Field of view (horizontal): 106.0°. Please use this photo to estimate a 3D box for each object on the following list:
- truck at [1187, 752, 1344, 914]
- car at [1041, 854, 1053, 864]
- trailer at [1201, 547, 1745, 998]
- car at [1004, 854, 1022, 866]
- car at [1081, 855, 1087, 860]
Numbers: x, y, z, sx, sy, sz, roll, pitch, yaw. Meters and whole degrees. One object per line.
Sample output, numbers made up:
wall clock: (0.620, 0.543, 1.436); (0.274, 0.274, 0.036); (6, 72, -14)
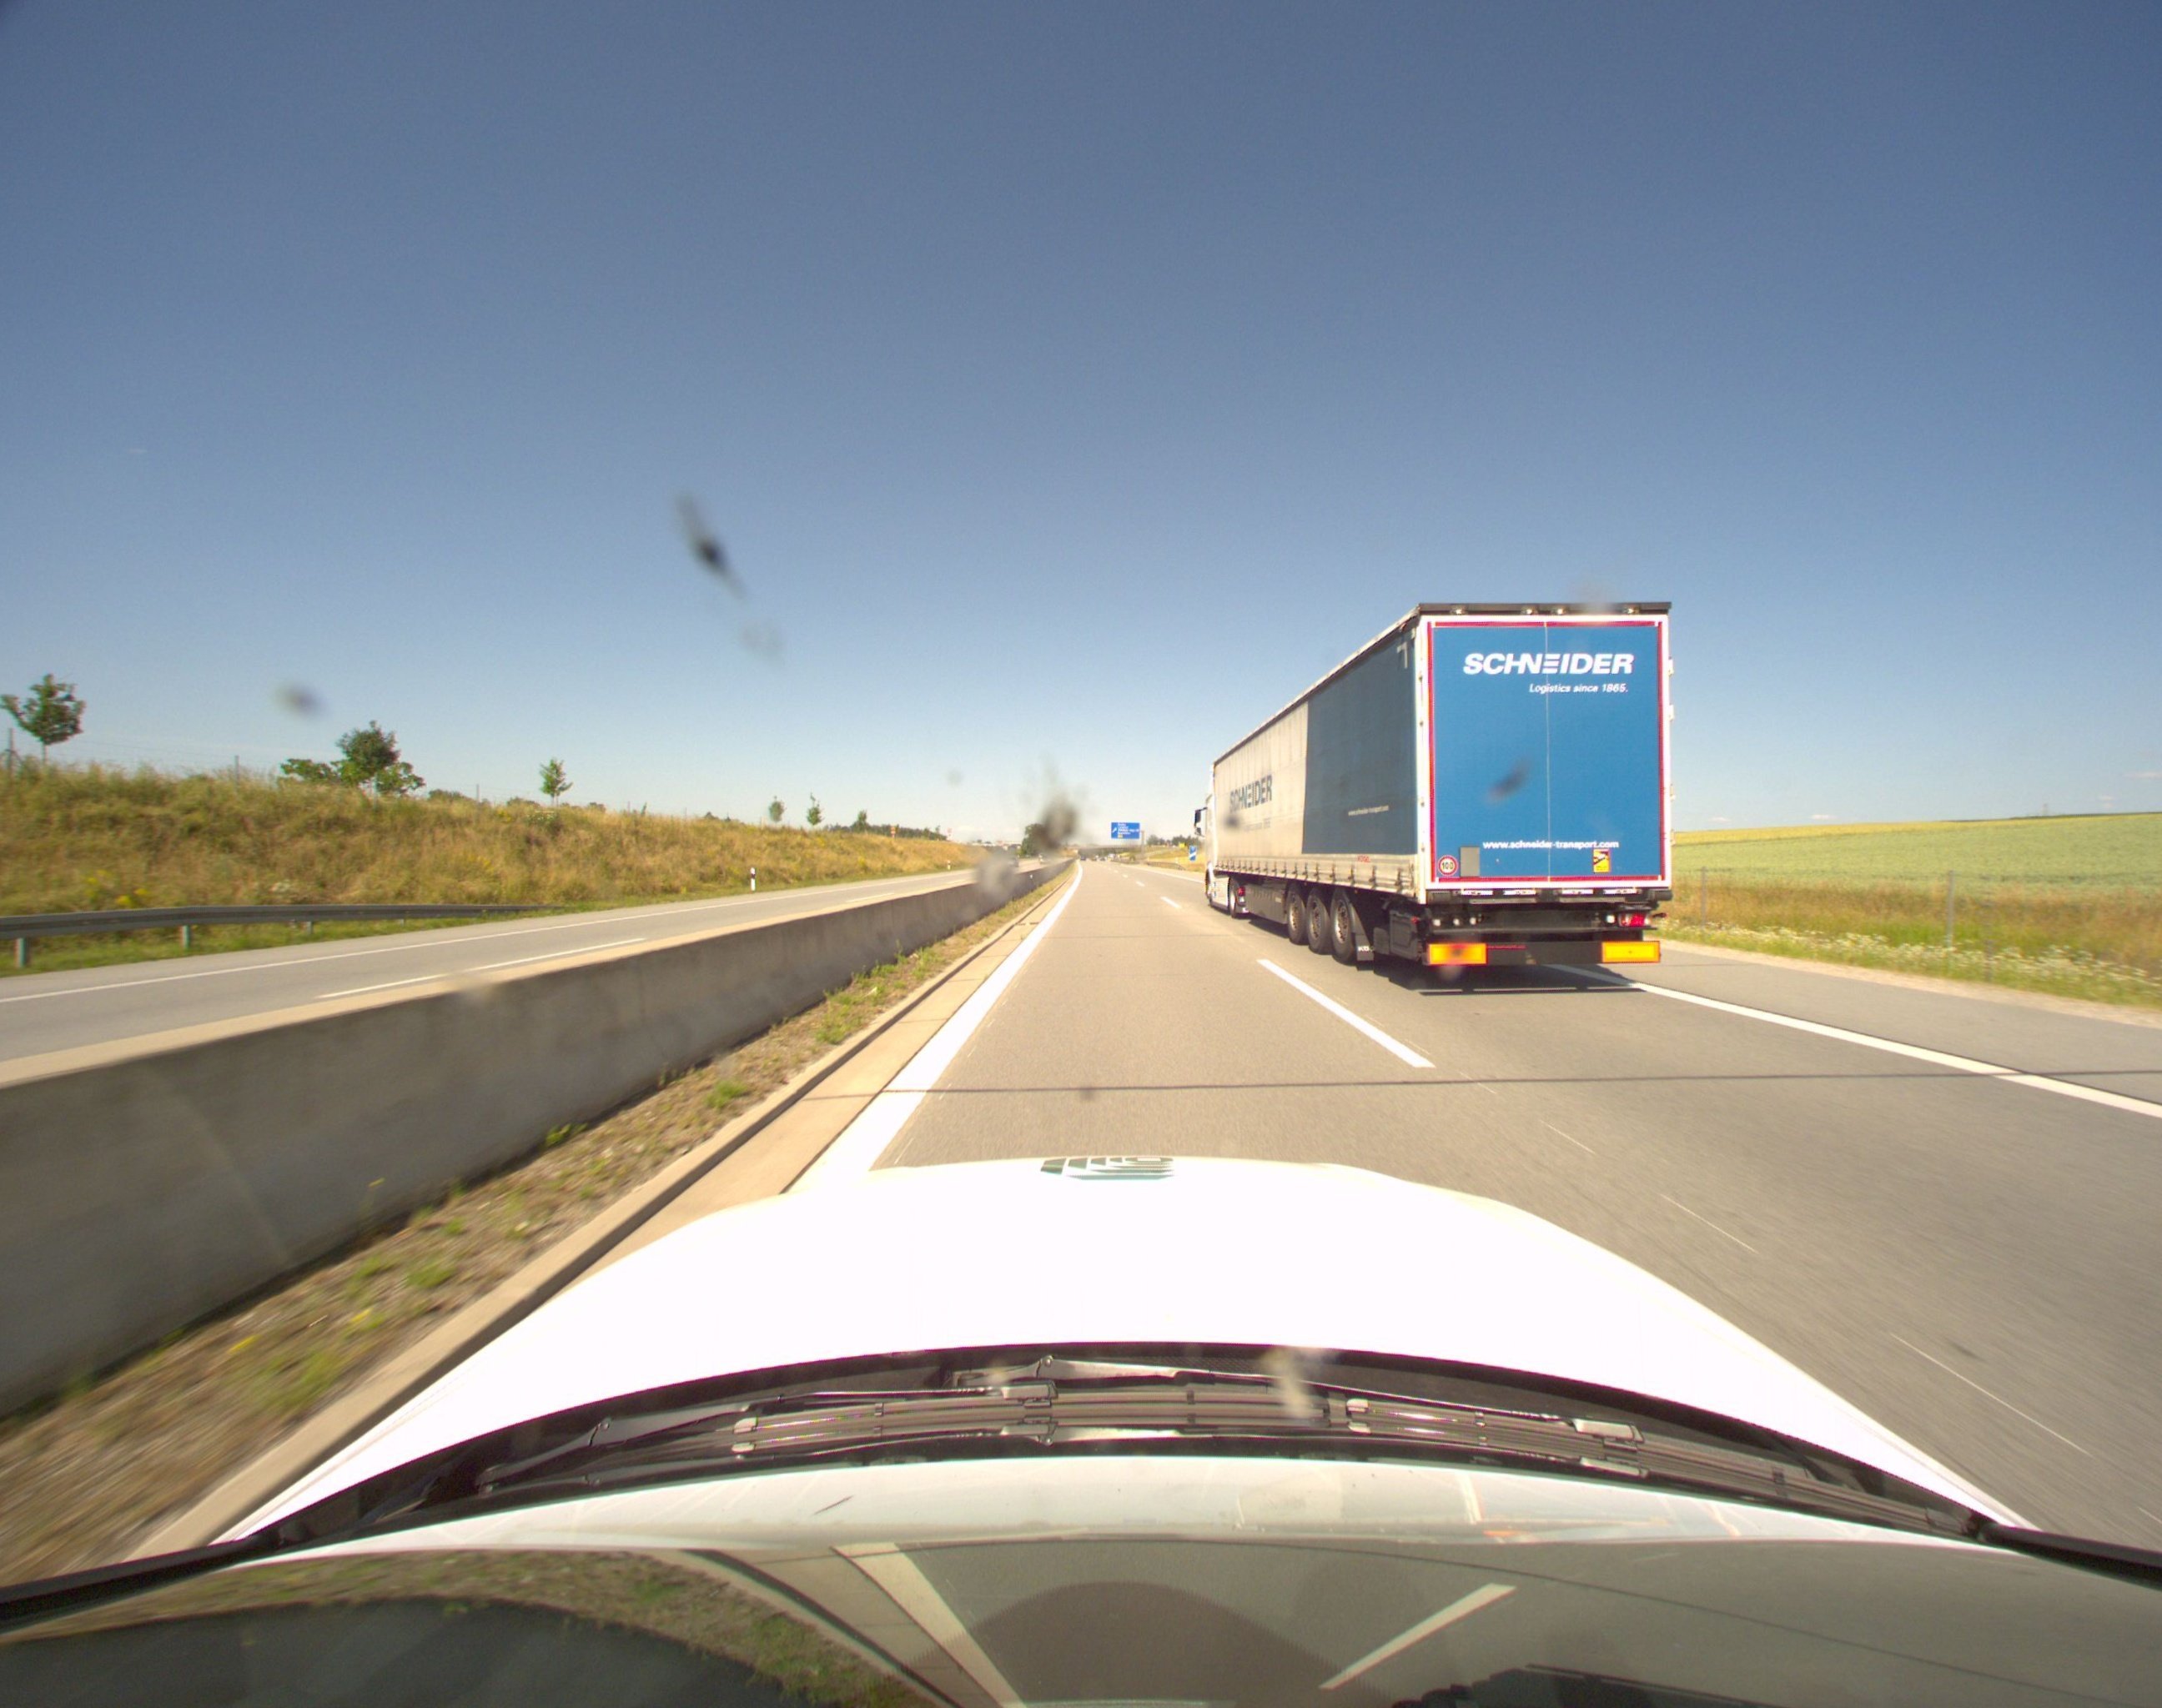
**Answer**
truck: (5.073, -0.541, 23.708); (3.072, 4.014, 6.188); (-2, 0, 0)
car: (-5.833, 0.794, 139.282); (1.875, 1.575, 4.560); (-2, 0, -3)
trailer: (4.948, -0.790, 15.644); (3.165, 4.294, 15.462); (-2, 0, 1)
car: (-8.916, 0.820, 107.004); (1.873, 1.502, 4.564); (-2, 0, -1)
car: (1.014, 1.000, 261.065); (1.986, 1.552, 4.002); (-2, 0, 2)
